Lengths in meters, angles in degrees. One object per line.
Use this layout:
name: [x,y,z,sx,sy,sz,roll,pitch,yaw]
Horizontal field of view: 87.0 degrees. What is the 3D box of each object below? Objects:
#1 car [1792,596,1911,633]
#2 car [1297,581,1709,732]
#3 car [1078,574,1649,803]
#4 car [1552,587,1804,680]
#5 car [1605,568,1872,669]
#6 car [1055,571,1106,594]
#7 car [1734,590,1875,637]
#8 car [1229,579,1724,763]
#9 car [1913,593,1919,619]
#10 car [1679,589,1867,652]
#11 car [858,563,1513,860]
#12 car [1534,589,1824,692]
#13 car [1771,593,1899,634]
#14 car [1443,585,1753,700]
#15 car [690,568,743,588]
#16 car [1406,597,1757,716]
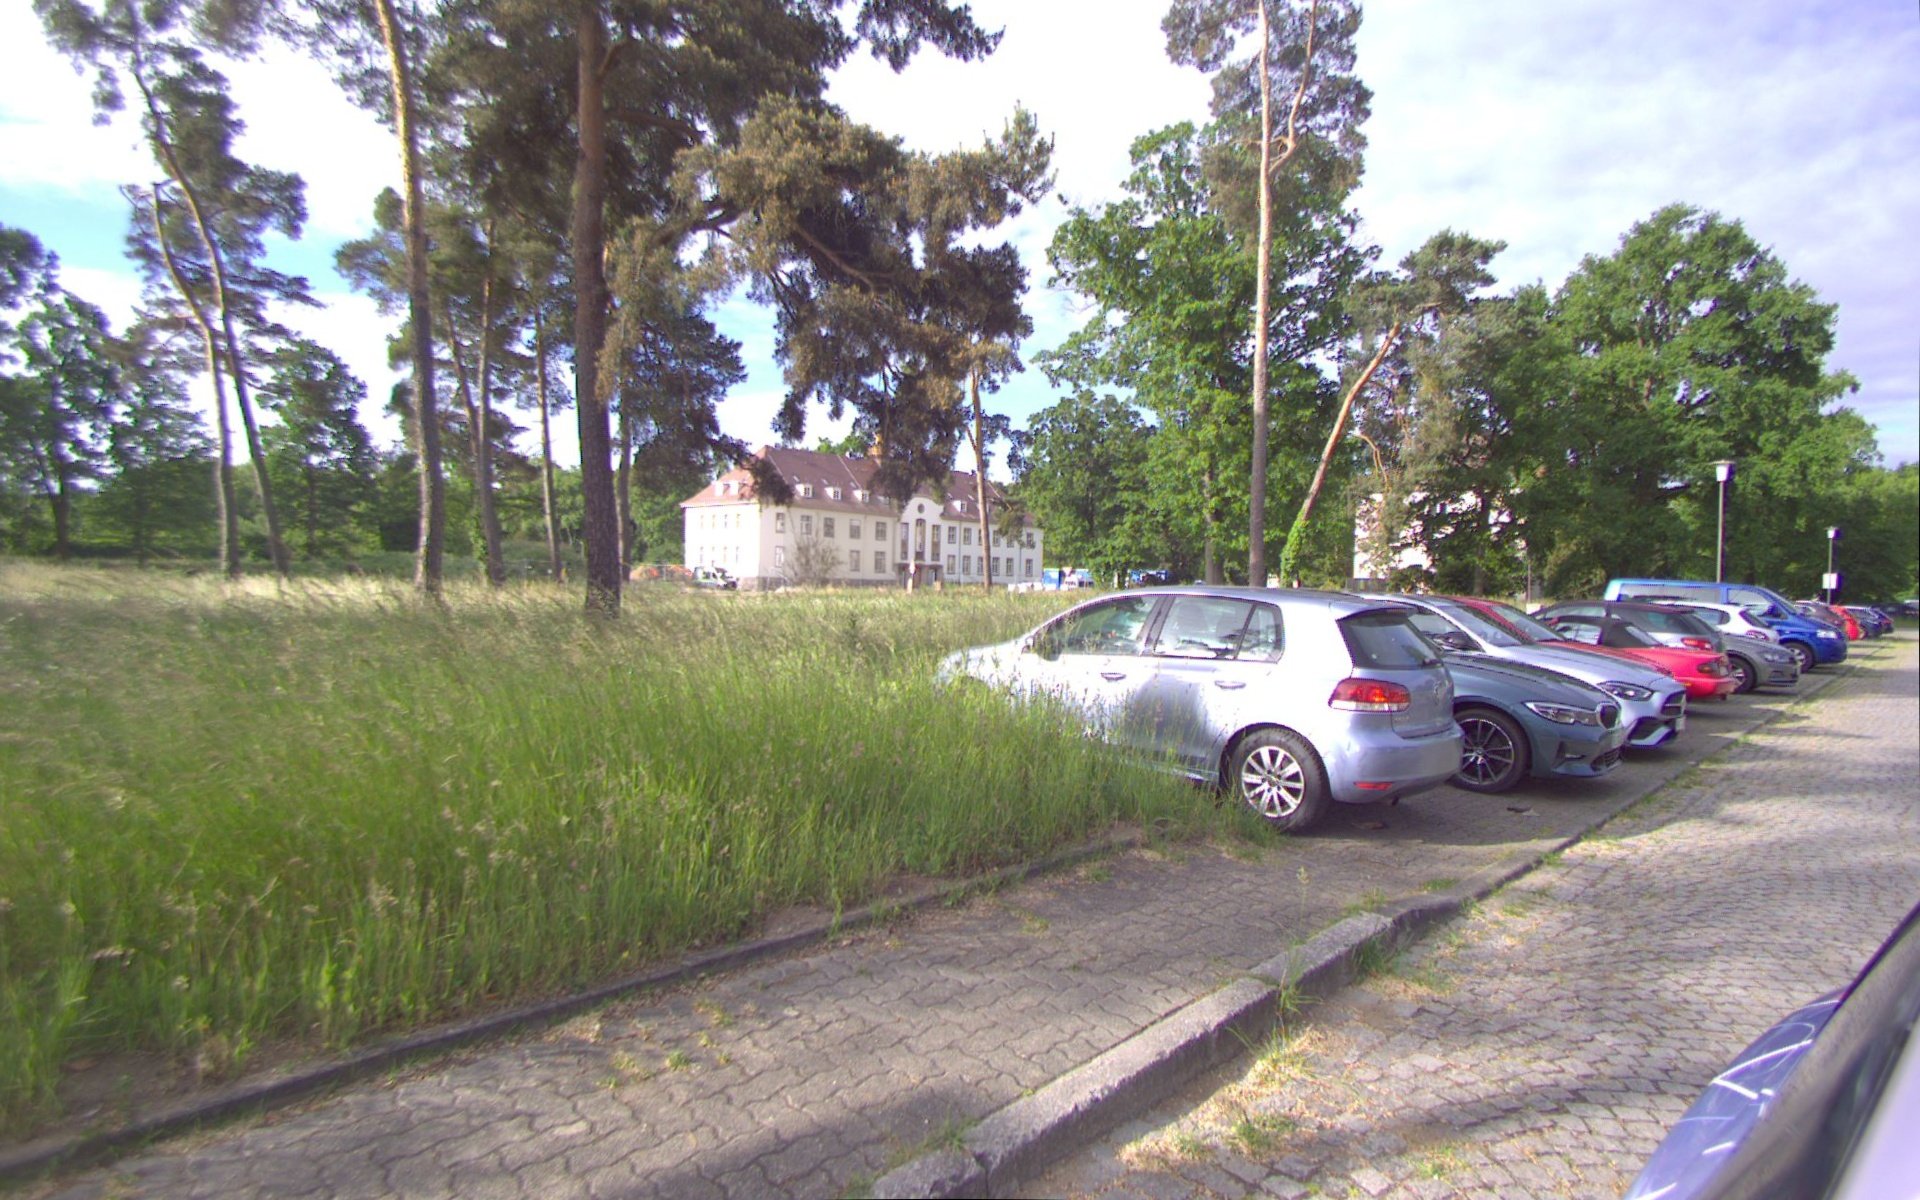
car: [41.991,0.651,47.742,1.753,1.468,4.032,-1,3,-42]
car: [6.794,0.569,13.018,1.712,1.491,4.344,-1,3,-45]
car: [3.479,0.568,9.303,4.504,1.491,1.867,3,3,42]
car: [14.399,0.587,20.432,1.778,1.549,3.878,-1,3,-44]
car: [18.303,0.336,23.970,4.737,1.952,1.960,5,4,45]
car: [12.984,-1.883,109.000,5.860,2.328,2.165,0,2,-43]
car: [31.311,0.451,37.583,3.879,1.491,1.660,4,3,45]
car: [5.468,0.582,11.179,1.820,1.491,4.510,-1,3,-45]
car: [78.355,0.520,79.418,1.967,2.066,5.069,1,1,-45]
car: [24.285,0.543,30.330,4.193,1.608,1.848,3,3,45]
car: [1.428,0.528,7.708,4.545,1.523,1.903,3,3,44]
car: [12.742,0.615,18.104,1.801,1.485,3.955,-1,3,-44]
car: [38.548,0.553,44.656,1.718,1.588,4.128,-1,3,-45]
car: [10.284,0.575,16.508,1.743,1.513,3.955,-1,3,-44]
car: [-25.970,-2.371,107.730,5.637,2.038,2.597,2,2,39]
car: [8.702,0.688,14.410,1.698,1.276,3.955,-1,3,-44]
